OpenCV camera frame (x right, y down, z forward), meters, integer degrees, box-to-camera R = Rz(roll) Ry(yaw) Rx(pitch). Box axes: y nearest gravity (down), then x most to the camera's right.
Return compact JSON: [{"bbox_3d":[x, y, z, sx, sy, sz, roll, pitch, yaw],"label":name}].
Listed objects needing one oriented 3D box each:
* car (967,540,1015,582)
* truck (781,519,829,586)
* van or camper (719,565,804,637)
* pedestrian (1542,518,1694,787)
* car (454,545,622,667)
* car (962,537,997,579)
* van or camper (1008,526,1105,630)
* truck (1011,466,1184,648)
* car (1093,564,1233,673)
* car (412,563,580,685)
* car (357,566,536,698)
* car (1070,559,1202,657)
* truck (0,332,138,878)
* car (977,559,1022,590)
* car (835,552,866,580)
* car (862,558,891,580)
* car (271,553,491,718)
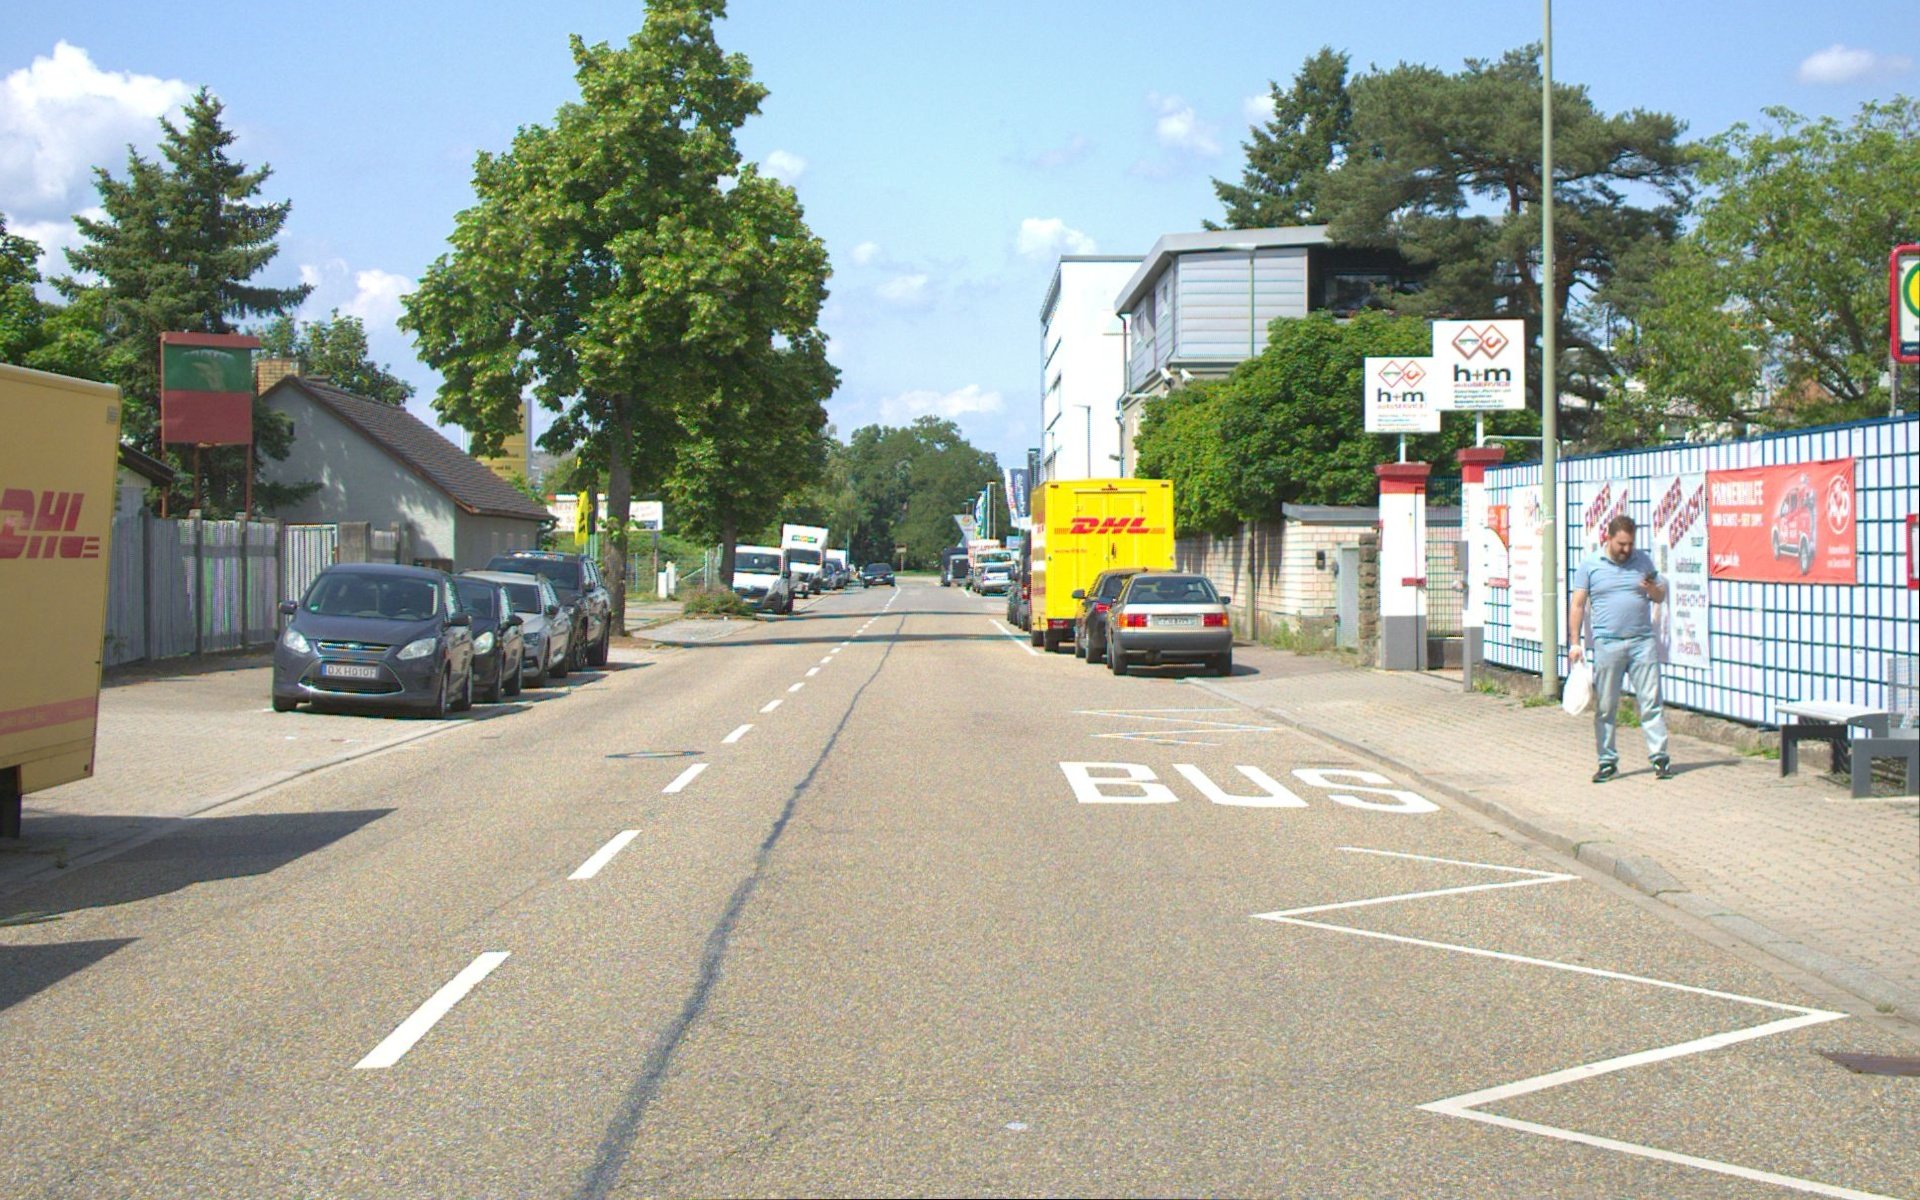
[{"bbox_3d":[1.478,-1.899,166.076,2.216,2.007,5.485,0,1,0],"label":"car"},{"bbox_3d":[-7.380,-2.276,164.542,2.029,3.143,6.500,0,1,0],"label":"truck"},{"bbox_3d":[-6.850,-0.013,119.564,2.174,2.405,7.697,0,1,3],"label":"van or camper"},{"bbox_3d":[4.321,0.338,22.610,0.715,1.691,0.522,-6,1,-5],"label":"pedestrian"},{"bbox_3d":[-6.521,0.067,53.599,1.919,1.816,4.785,0,1,1],"label":"car"},{"bbox_3d":[0.992,-2.161,176.506,1.707,2.083,4.000,0,1,-1],"label":"car"},{"bbox_3d":[2.199,-0.520,79.914,1.993,2.283,5.448,1,1,0],"label":"van or camper"},{"bbox_3d":[2.299,-0.739,59.865,2.474,2.930,7.189,1,1,-2],"label":"truck"},{"bbox_3d":[2.802,0.230,48.188,1.651,1.382,4.423,1,1,0],"label":"car"},{"bbox_3d":[-6.424,0.295,48.050,1.733,1.513,4.743,2,1,-1],"label":"car"},{"bbox_3d":[-6.304,0.357,42.540,1.627,1.443,4.027,4,1,-2],"label":"car"},{"bbox_3d":[2.663,0.098,52.800,1.662,1.436,4.284,0,1,-2],"label":"car"},{"bbox_3d":[-6.152,0.003,17.245,2.316,2.853,7.105,2,1,-1],"label":"truck"},{"bbox_3d":[1.727,-1.133,152.282,1.928,1.306,4.000,0,1,0],"label":"car"},{"bbox_3d":[-6.527,-2.024,204.865,1.713,1.645,4.000,0,1,0],"label":"car"},{"bbox_3d":[-5.116,-1.897,210.547,1.654,1.320,4.416,0,1,0],"label":"car"},{"bbox_3d":[-6.218,0.334,37.330,1.724,1.598,4.415,3,1,-2],"label":"car"}]
